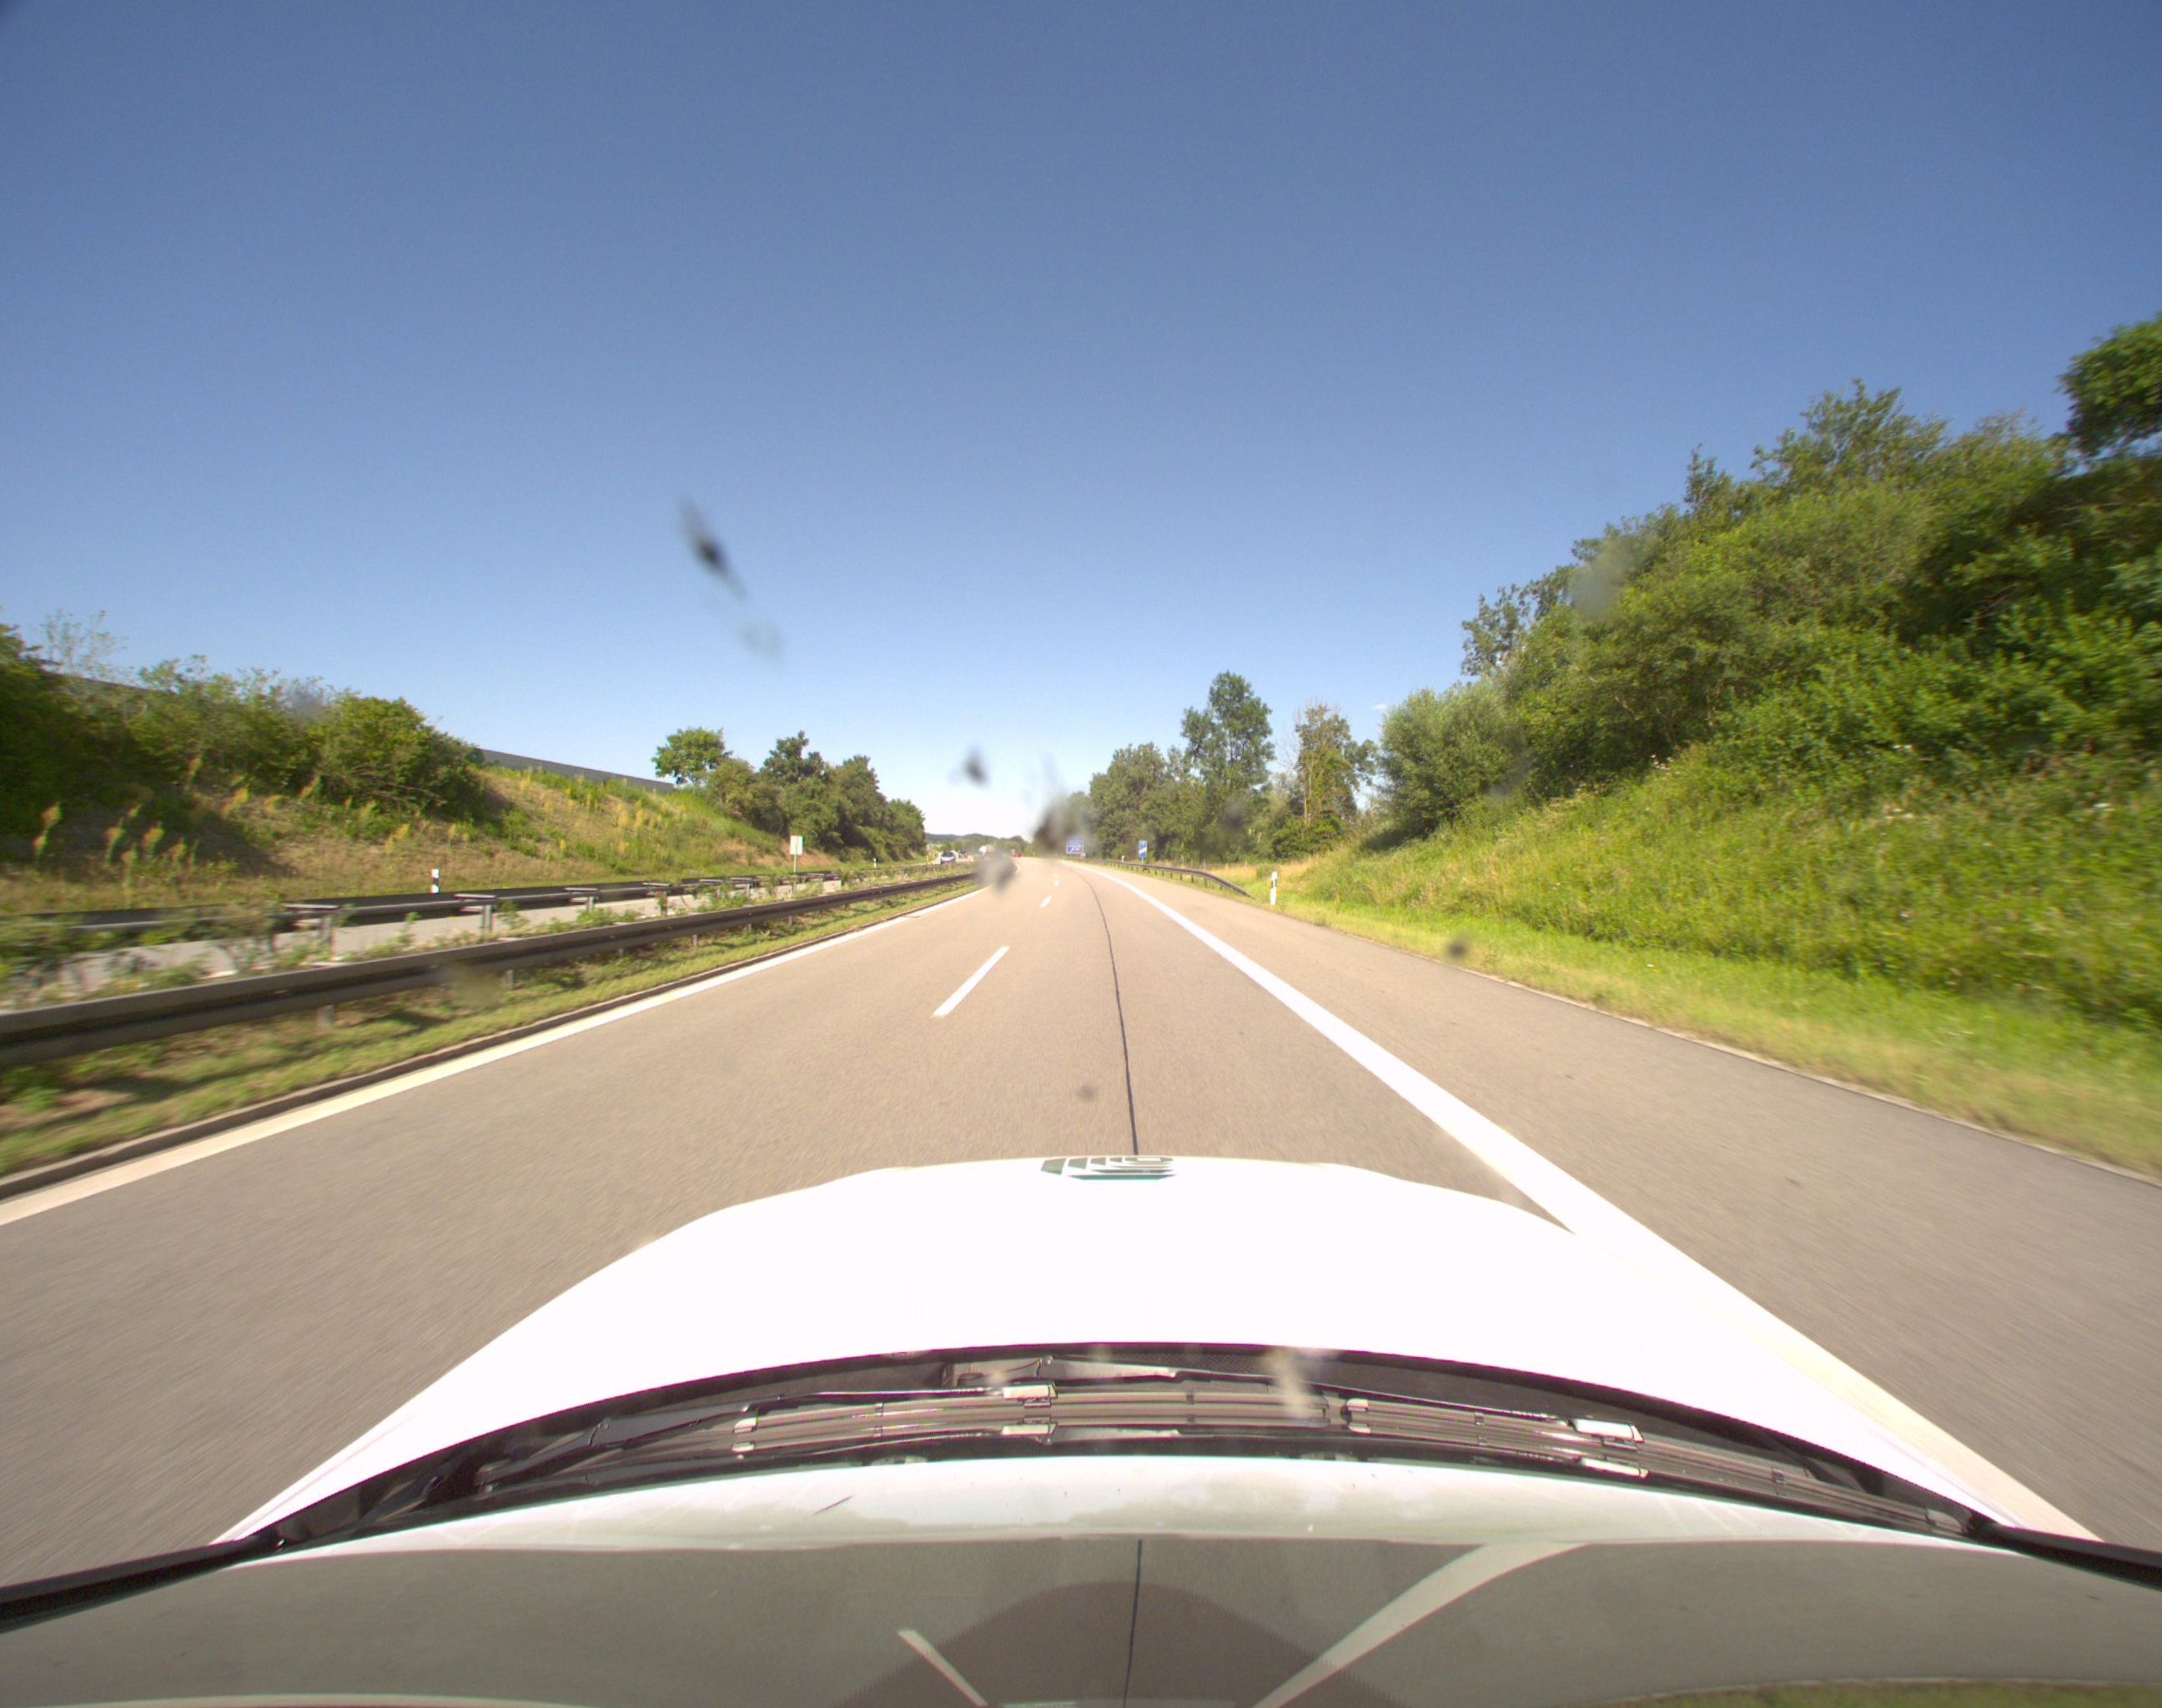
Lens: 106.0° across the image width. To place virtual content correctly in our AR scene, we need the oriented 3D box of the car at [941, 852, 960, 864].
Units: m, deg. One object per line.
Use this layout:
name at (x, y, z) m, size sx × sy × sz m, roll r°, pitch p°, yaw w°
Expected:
car at (-16.876, 0.498, 105.202) m, size 1.815 × 1.480 × 4.681 m, roll 0°, pitch 0°, yaw -2°

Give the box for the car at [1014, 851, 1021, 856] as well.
car at (-18.704, -0.084, 240.832) m, size 1.782 × 1.431 × 3.991 m, roll 5°, pitch -1°, yaw -6°

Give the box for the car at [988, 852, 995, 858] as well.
car at (-27.067, 0.434, 245.721) m, size 1.994 × 1.750 × 3.985 m, roll -1°, pitch 0°, yaw -11°

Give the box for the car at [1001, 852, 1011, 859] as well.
car at (-19.114, 0.401, 207.525) m, size 2.062 × 1.625 × 3.985 m, roll 1°, pitch -2°, yaw -10°

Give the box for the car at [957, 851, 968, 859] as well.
car at (-24.784, 0.144, 170.884) m, size 1.991 × 1.651 × 4.425 m, roll -1°, pitch 0°, yaw -5°

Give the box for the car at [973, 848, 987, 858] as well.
car at (-18.051, -0.114, 145.418) m, size 2.063 × 1.679 × 4.881 m, roll -2°, pitch 0°, yaw -3°
